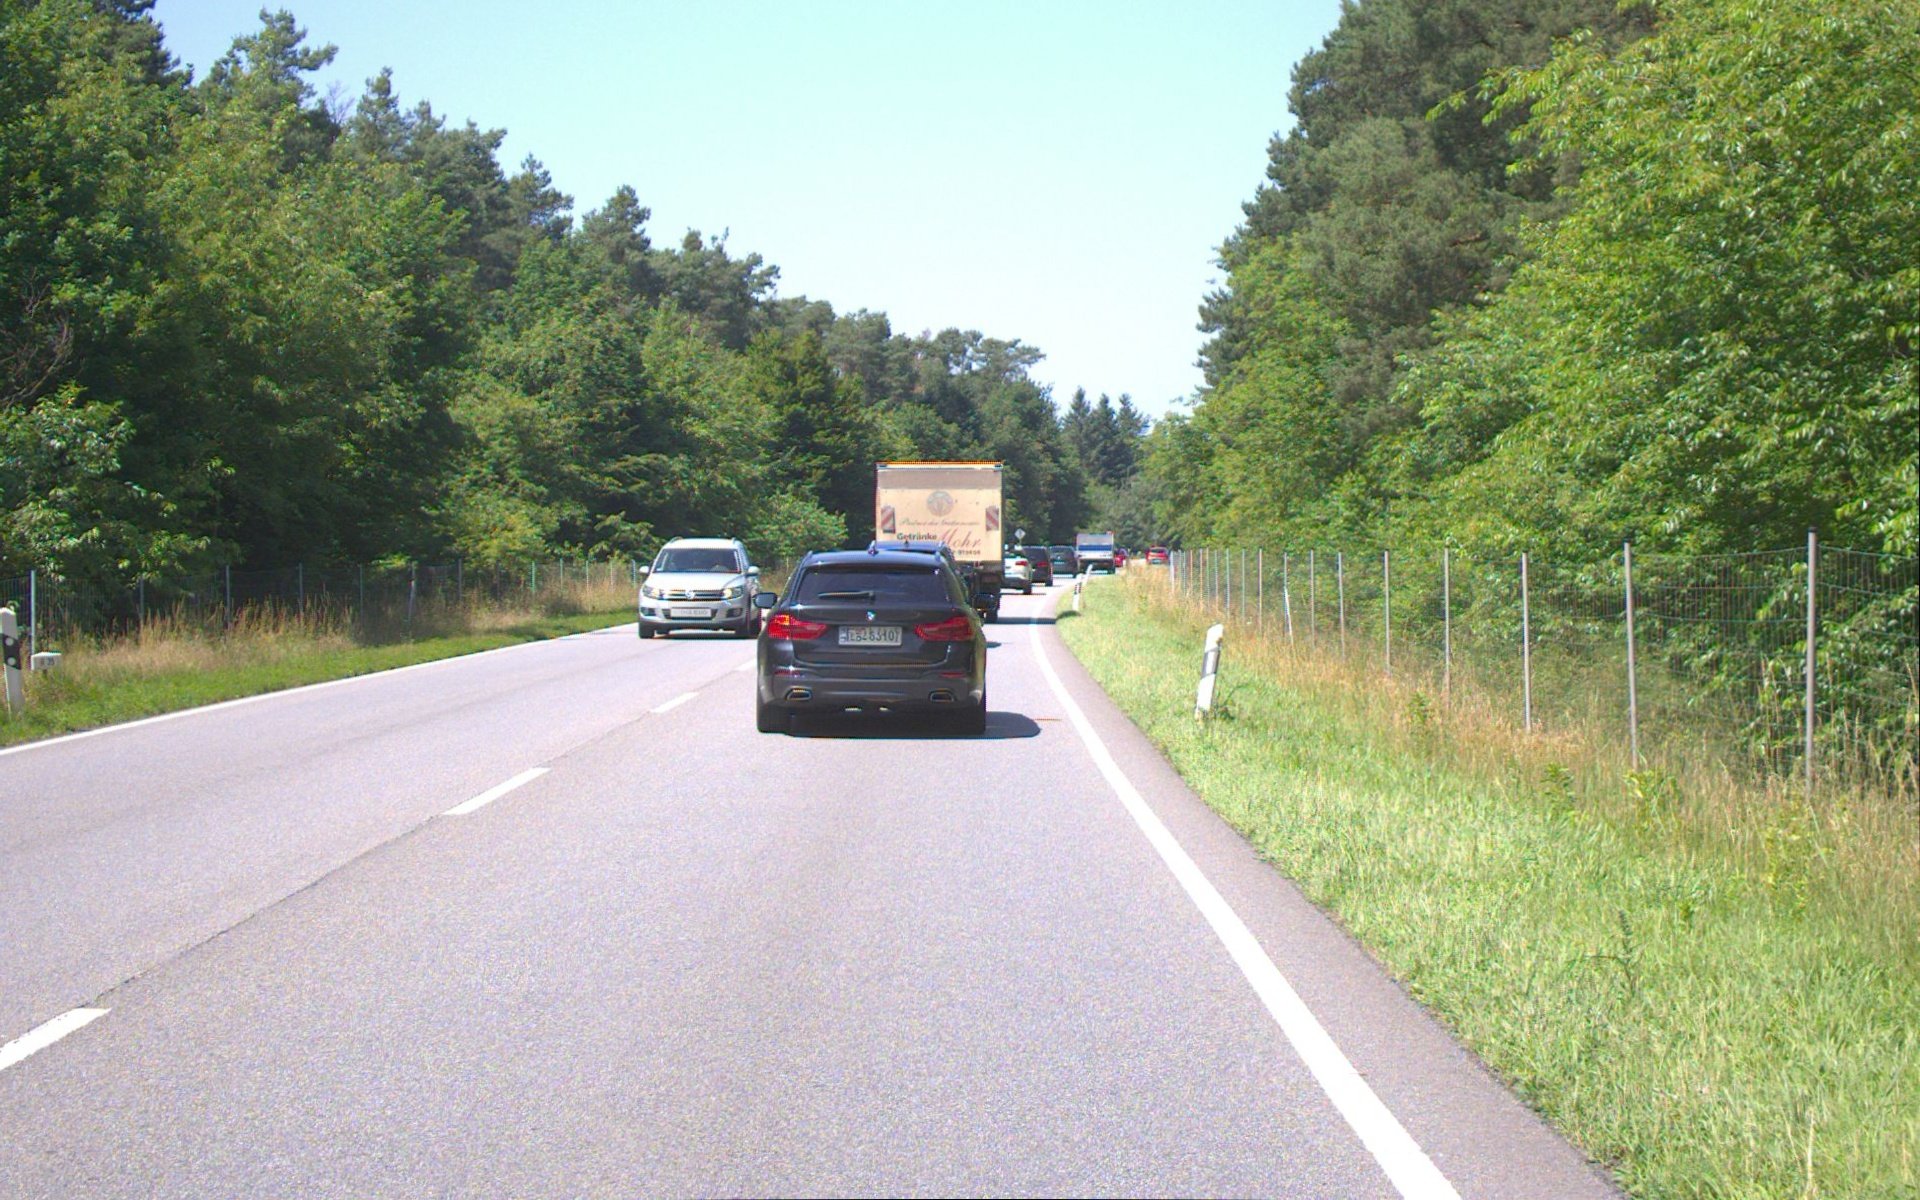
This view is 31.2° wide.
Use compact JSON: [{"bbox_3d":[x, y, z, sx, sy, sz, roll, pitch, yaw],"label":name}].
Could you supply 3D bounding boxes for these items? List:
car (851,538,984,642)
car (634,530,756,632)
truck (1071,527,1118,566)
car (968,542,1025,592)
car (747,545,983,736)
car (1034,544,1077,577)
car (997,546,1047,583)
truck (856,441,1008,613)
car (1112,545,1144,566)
[{"bbox_3d":[-0.627,-0.182,53.823,1.947,1.536,4.000,-1,1,1],"label":"car"},{"bbox_3d":[-4.390,-0.354,57.446,1.863,1.623,4.093,0,1,-2],"label":"car"},{"bbox_3d":[7.874,-3.148,200.819,2.564,2.194,4.973,-1,1,5],"label":"truck"},{"bbox_3d":[1.217,-1.103,114.175,1.863,1.600,4.000,0,1,1],"label":"car"},{"bbox_3d":[-0.776,0.281,28.641,1.820,1.465,4.000,0,1,-1],"label":"car"},{"bbox_3d":[4.851,-2.028,174.320,1.994,1.631,4.000,-1,1,4],"label":"car"},{"bbox_3d":[2.484,-1.441,138.502,1.993,1.415,4.000,-1,1,1],"label":"car"},{"bbox_3d":[-0.601,-1.502,71.571,2.965,3.376,6.438,-1,1,-1],"label":"truck"},{"bbox_3d":[11.284,-2.999,230.923,1.795,1.349,3.927,0,1,8],"label":"car"}]
